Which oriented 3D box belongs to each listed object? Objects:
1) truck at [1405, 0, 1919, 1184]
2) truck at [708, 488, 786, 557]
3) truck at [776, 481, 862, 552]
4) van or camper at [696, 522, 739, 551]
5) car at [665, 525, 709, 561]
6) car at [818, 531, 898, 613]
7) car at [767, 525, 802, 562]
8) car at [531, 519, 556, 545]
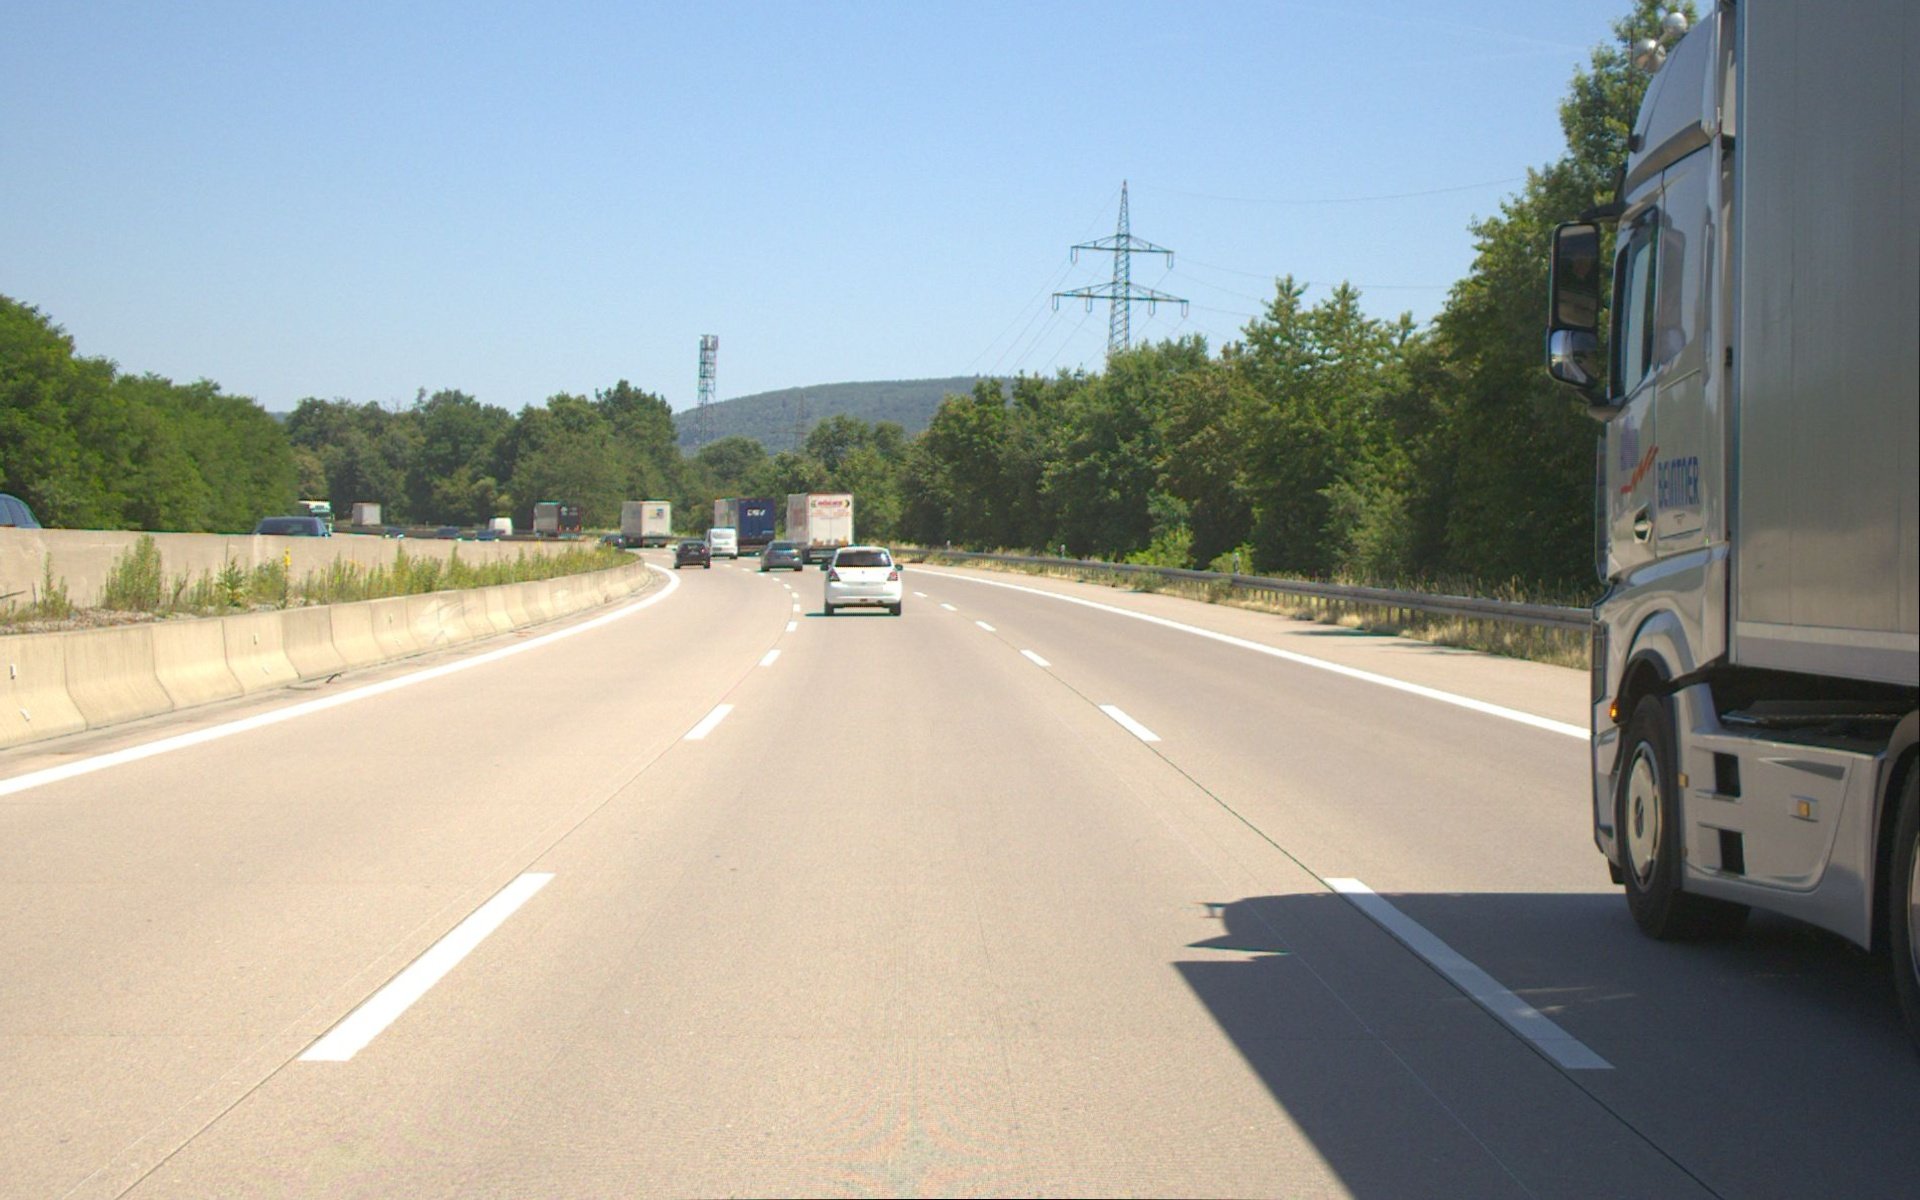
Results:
[{"bbox_3d":[4.347,-1.309,7.670,3.577,5.767,18.249,3,1,-1],"label":"truck"},{"bbox_3d":[-15.247,-5.520,244.734,3.906,4.725,14.054,-1,1,-10],"label":"truck"},{"bbox_3d":[-8.161,-4.763,197.057,3.819,3.876,14.156,-1,1,-7],"label":"truck"},{"bbox_3d":[-15.671,-4.097,221.966,1.867,1.831,4.001,-1,1,-18],"label":"van or camper"},{"bbox_3d":[-14.357,-3.020,181.043,2.022,1.695,4.001,5,1,-3],"label":"car"},{"bbox_3d":[-2.266,-0.645,76.595,1.641,1.656,3.360,4,1,-1],"label":"car"},{"bbox_3d":[-8.423,-2.709,164.828,1.610,1.719,3.574,-1,1,-3],"label":"car"},{"bbox_3d":[-31.140,-5.056,257.049,1.658,1.915,4.007,1,1,-4],"label":"car"}]
